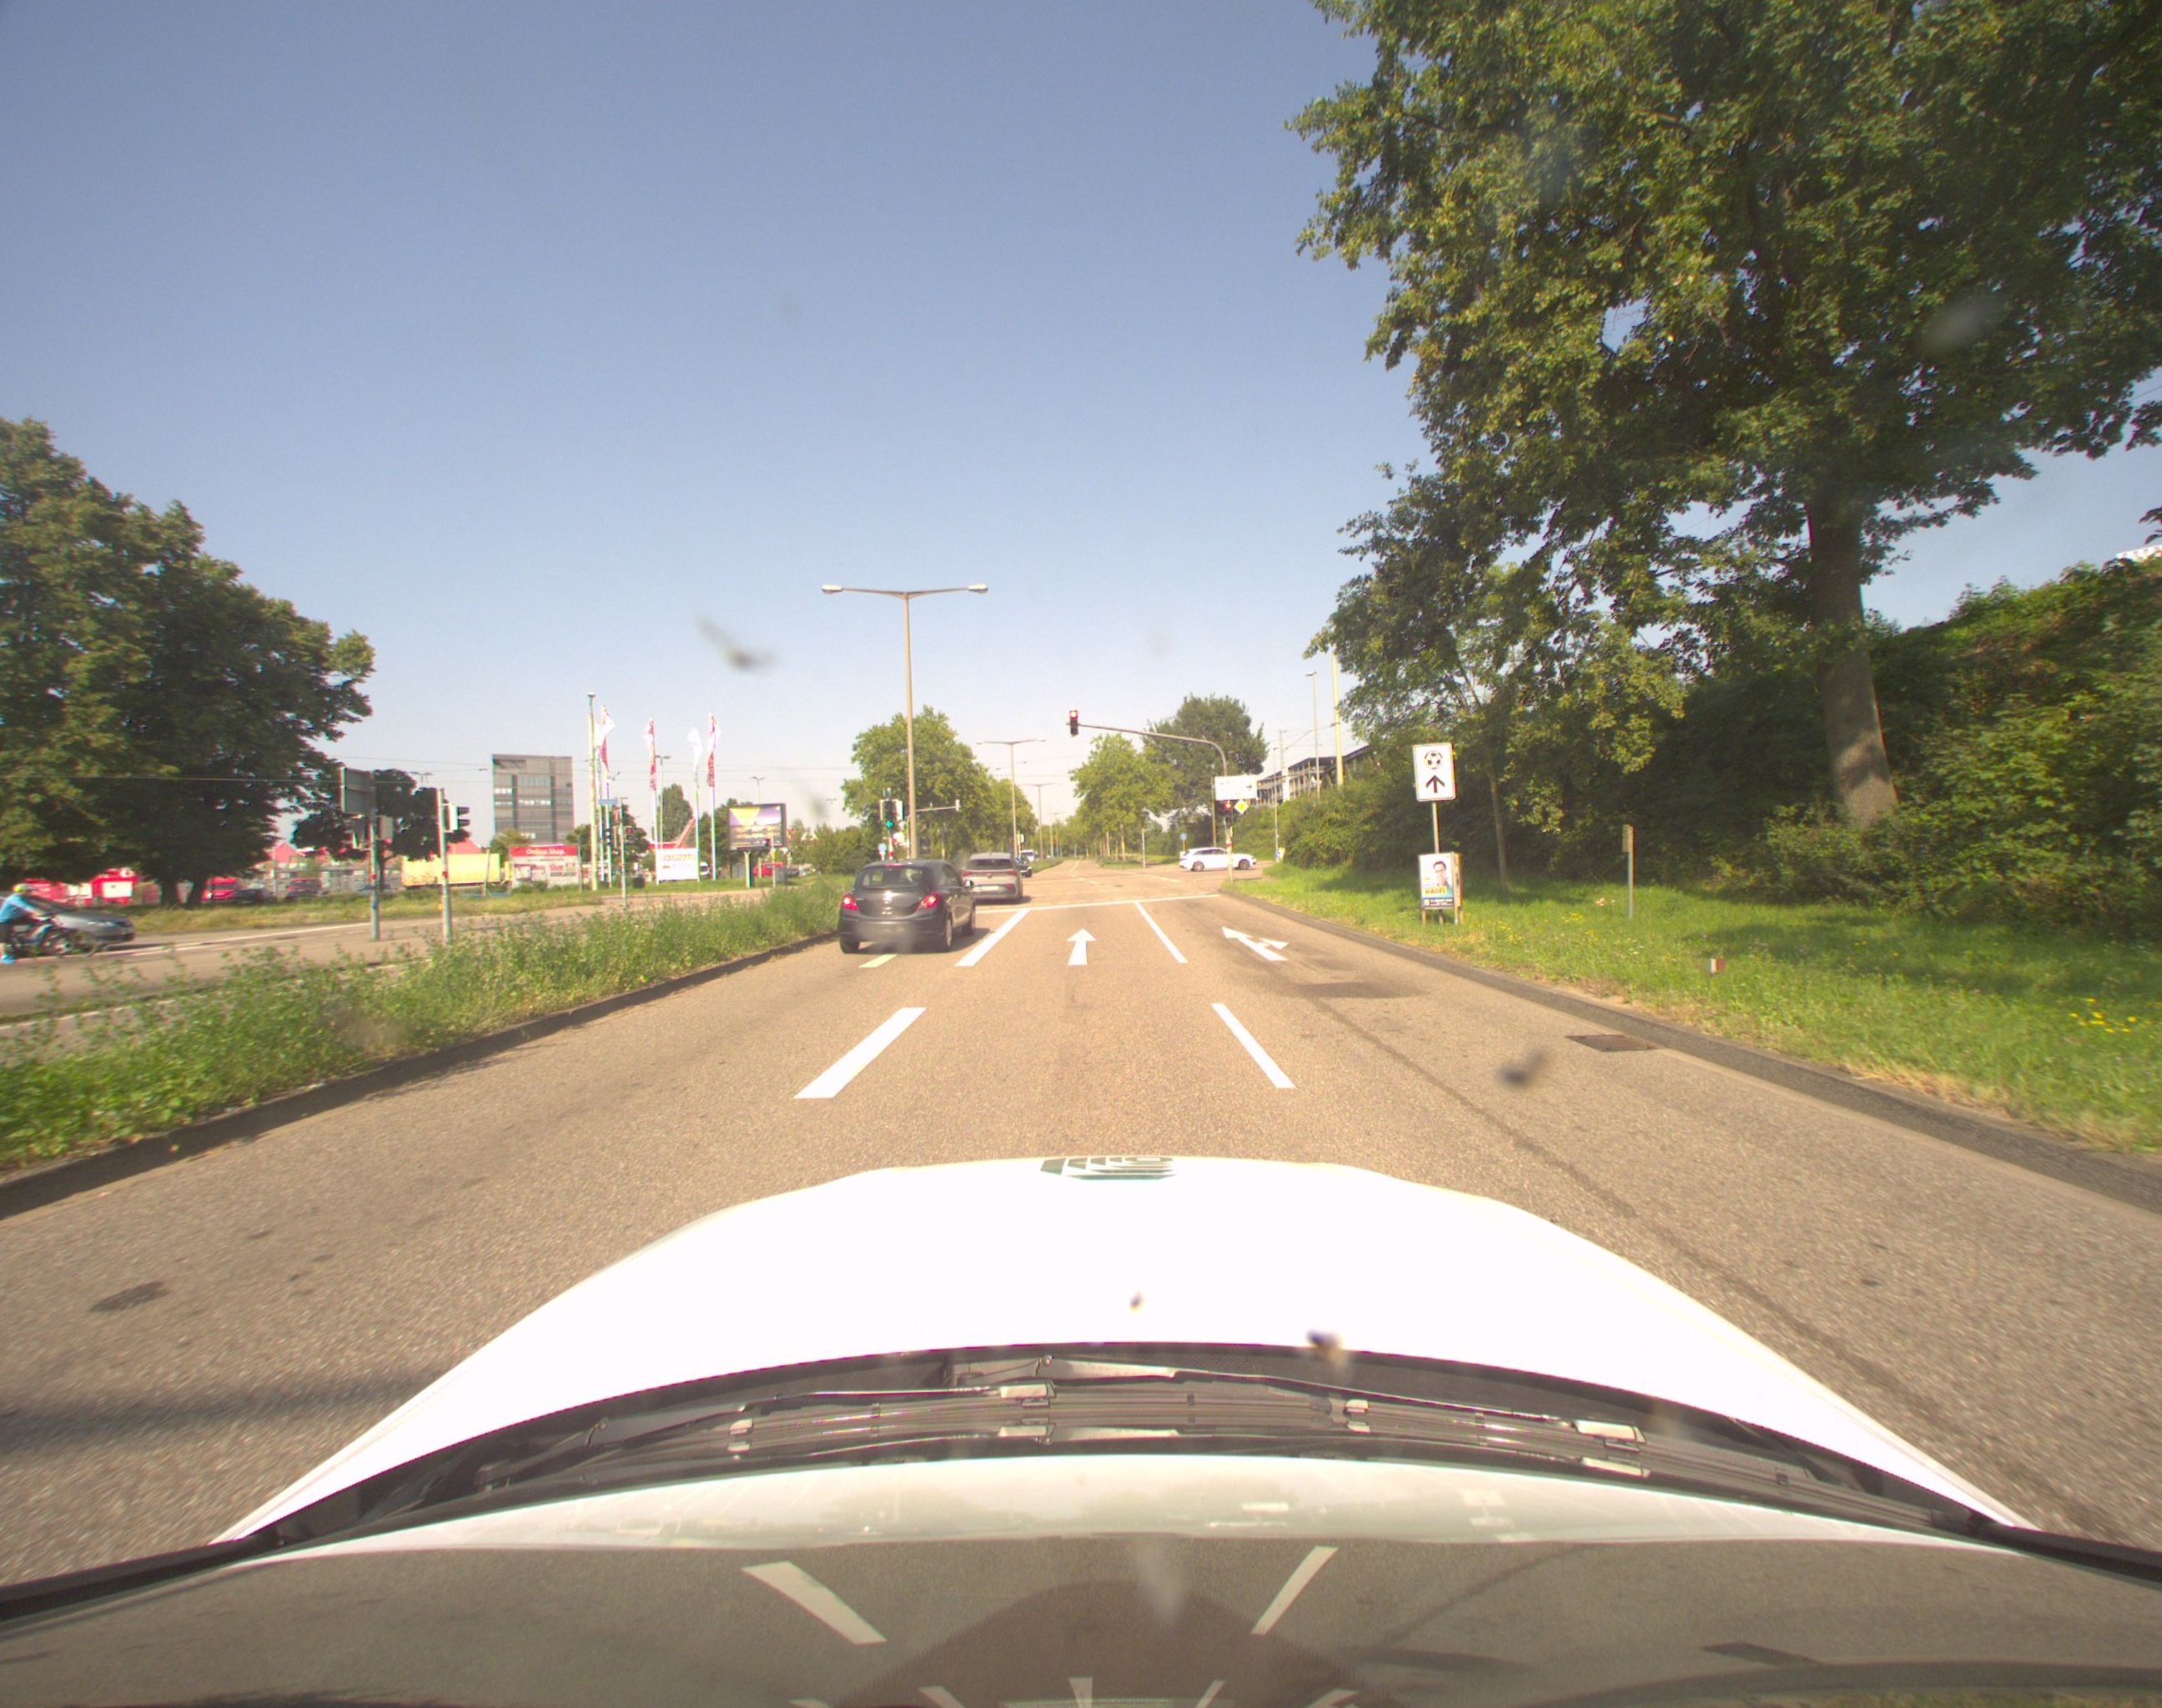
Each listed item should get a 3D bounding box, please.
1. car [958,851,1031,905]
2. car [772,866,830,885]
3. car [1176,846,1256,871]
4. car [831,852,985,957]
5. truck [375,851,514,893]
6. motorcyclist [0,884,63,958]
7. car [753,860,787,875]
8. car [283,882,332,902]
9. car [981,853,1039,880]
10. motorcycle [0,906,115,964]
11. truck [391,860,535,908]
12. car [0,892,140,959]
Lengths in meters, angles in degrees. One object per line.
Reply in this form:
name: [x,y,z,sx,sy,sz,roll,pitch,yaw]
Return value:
car: [-2.576,0.681,25.096,1.686,1.486,4.000,-2,0,1]
car: [-19.109,1.470,55.582,3.355,1.137,1.497,-2,0,9]
car: [8.331,0.267,50.400,4.599,1.486,1.695,-1,0,-5]
car: [-2.810,0.744,14.124,1.686,1.486,4.000,-2,0,1]
truck: [-53.966,1.495,69.442,9.053,2.957,3.476,-3,0,-35]
motorcyclist: [-23.258,1.462,18.047,0.686,1.572,0.676,-1,0,-35]
car: [-45.810,1.947,119.862,4.306,2.013,1.980,-1,0,-32]
car: [-50.243,2.463,52.977,1.616,1.135,3.382,-1,0,-31]
car: [-4.732,0.830,54.459,3.398,1.705,1.674,-2,0,16]
motorcycle: [-23.176,1.808,18.092,2.085,1.136,0.670,-2,-1,-35]
truck: [-33.181,1.597,43.866,5.965,2.329,2.104,-2,0,-2]
car: [-25.832,1.757,19.727,3.718,1.443,1.451,-1,0,-36]
